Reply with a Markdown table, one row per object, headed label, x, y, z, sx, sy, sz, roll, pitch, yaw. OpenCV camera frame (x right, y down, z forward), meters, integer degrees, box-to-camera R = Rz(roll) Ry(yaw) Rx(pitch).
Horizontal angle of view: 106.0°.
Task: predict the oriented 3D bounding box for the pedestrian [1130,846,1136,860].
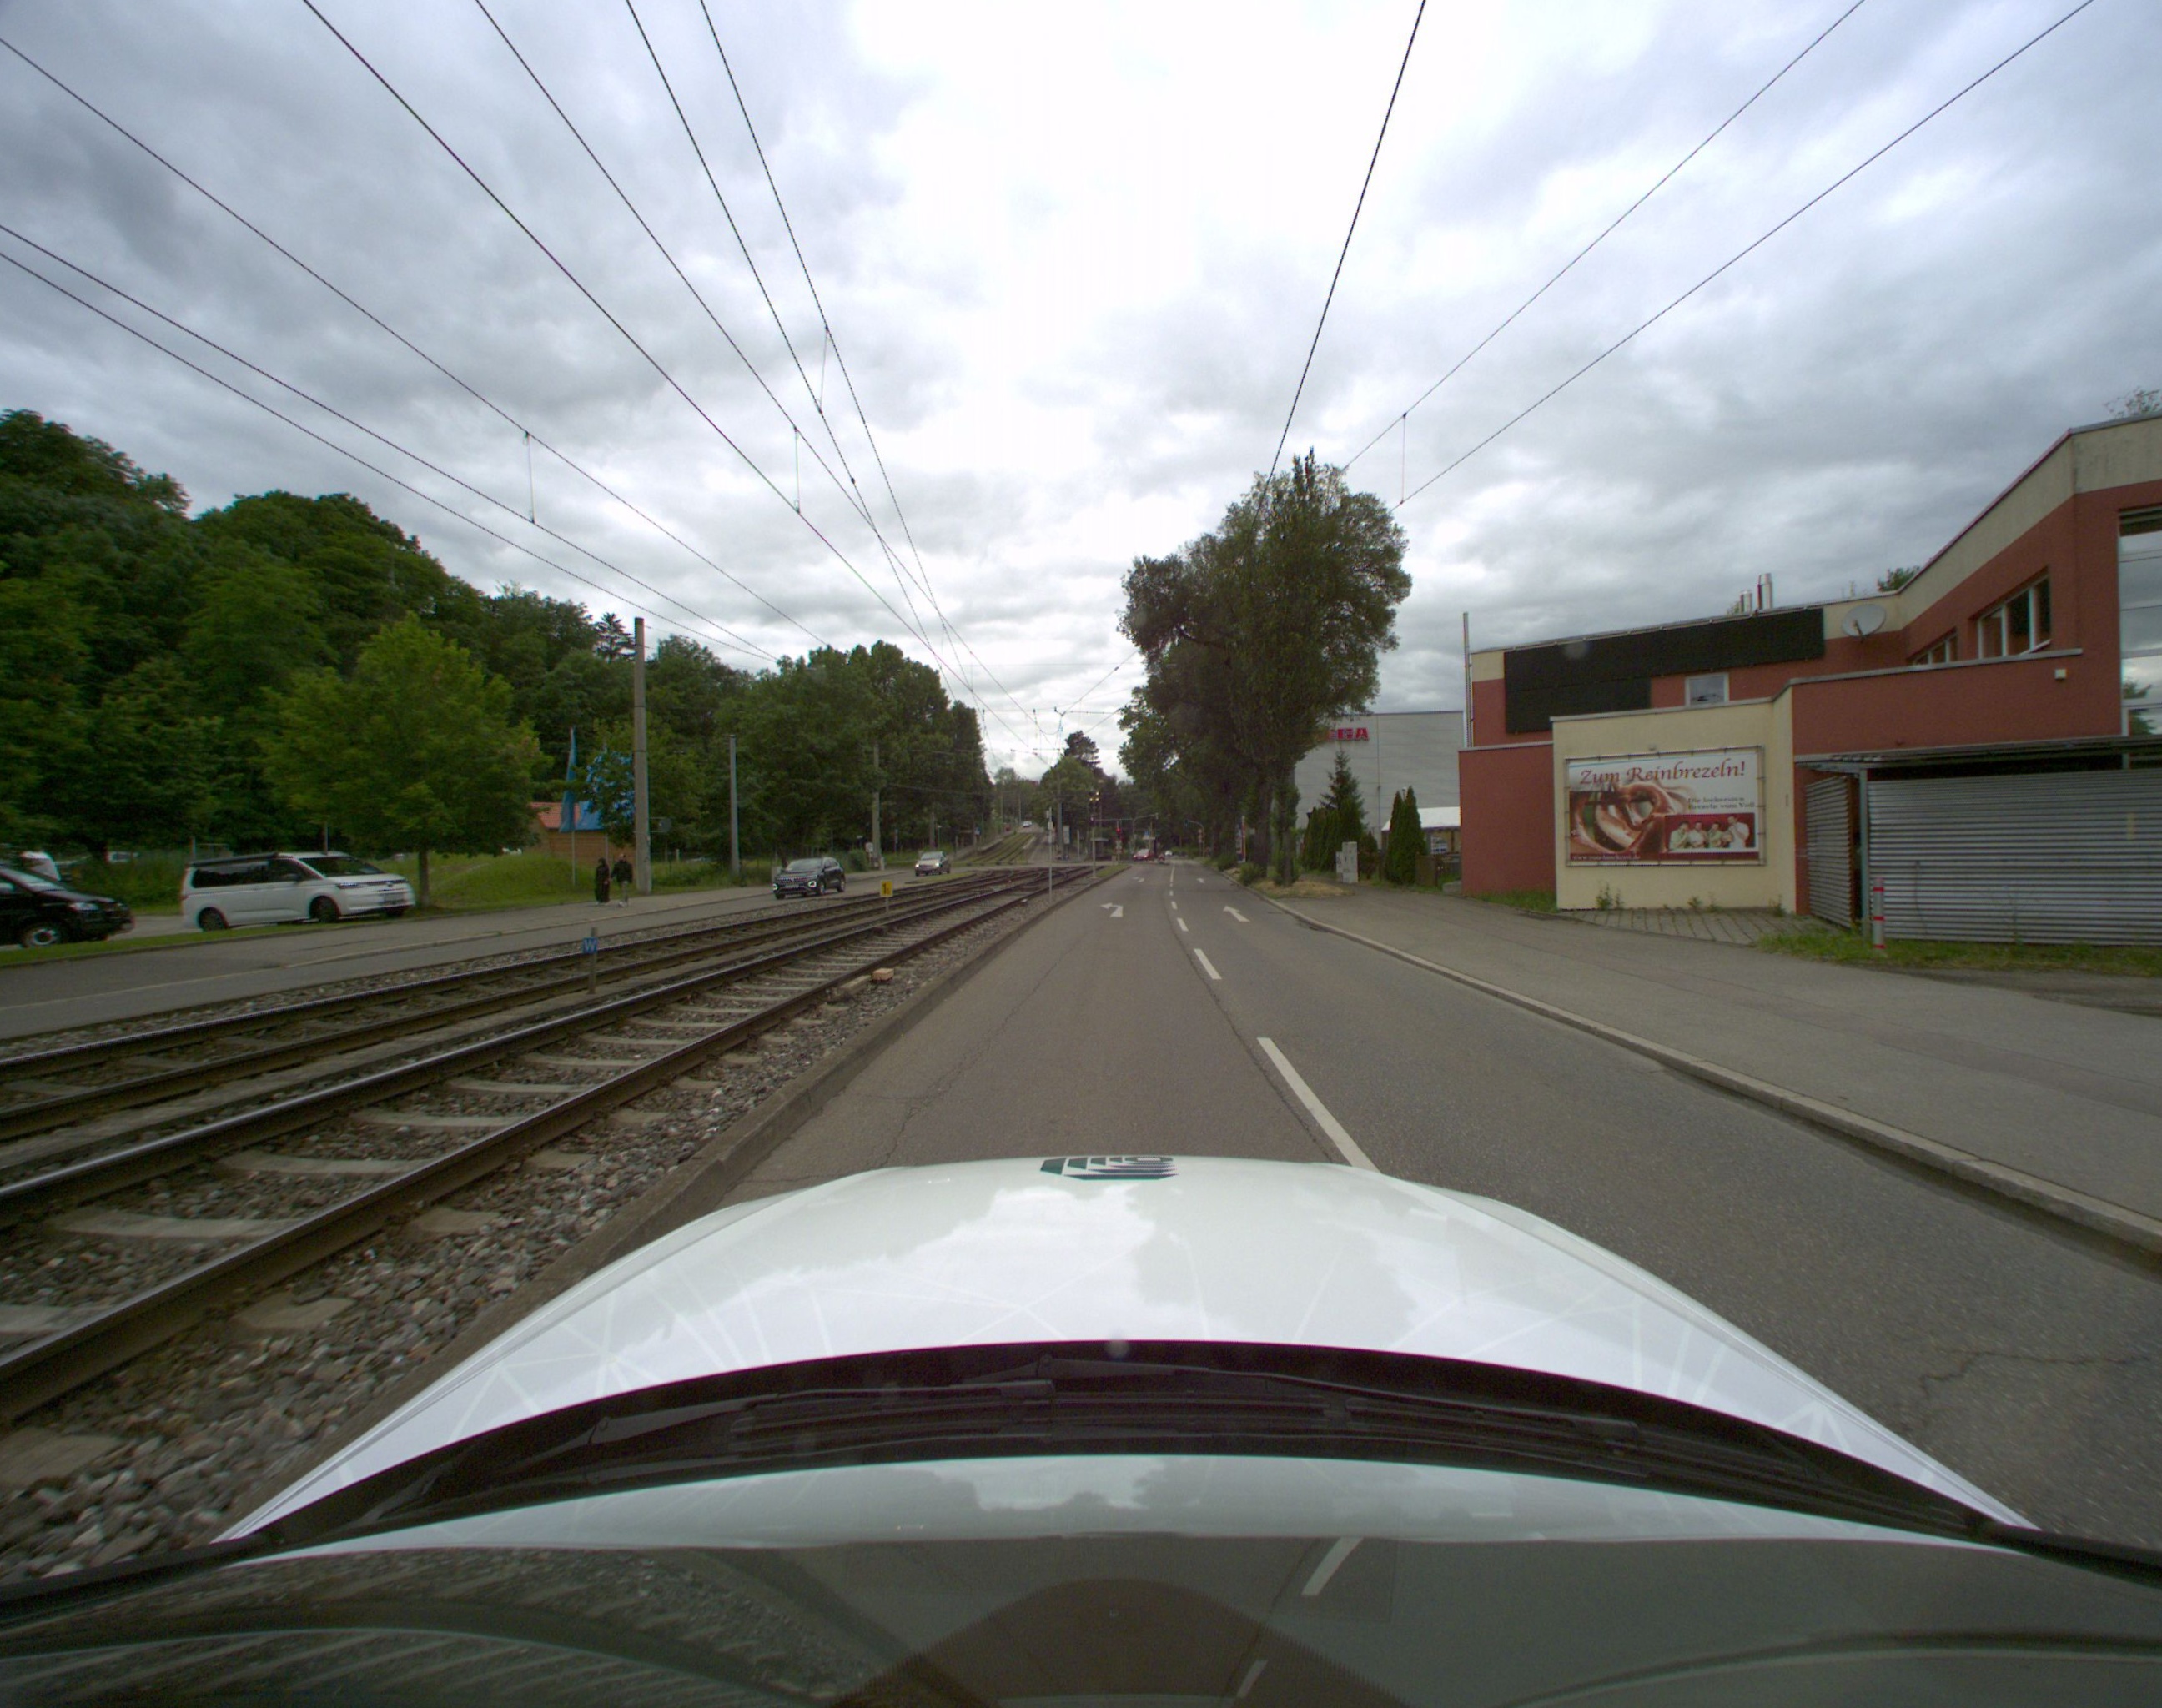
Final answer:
| label | x | y | z | sx | sy | sz | roll | pitch | yaw |
| --- | --- | --- | --- | --- | --- | --- | --- | --- | --- |
| pedestrian | 6.649 | -0.128 | 103.911 | 0.765 | 1.852 | 0.911 | -1 | 0 | 3 |

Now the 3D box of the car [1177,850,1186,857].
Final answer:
| label | x | y | z | sx | sy | sz | roll | pitch | yaw |
| --- | --- | --- | --- | --- | --- | --- | --- | --- | --- |
| car | 27.200 | -0.172 | 220.363 | 1.985 | 1.815 | 4.003 | -1 | 0 | 3 |

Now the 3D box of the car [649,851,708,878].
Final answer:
| label | x | y | z | sx | sy | sz | roll | pitch | yaw |
| --- | --- | --- | --- | --- | --- | --- | --- | --- | --- |
| car | -27.889 | 0.729 | 56.535 | 1.986 | 1.750 | 4.001 | -1 | 0 | 1 |

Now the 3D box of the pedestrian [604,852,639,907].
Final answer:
| label | x | y | z | sx | sy | sz | roll | pitch | yaw |
| --- | --- | --- | --- | --- | --- | --- | --- | --- | --- |
| pedestrian | -15.606 | 0.842 | 27.686 | 0.673 | 1.813 | 0.856 | 1 | 0 | 3 |

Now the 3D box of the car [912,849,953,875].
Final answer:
| label | x | y | z | sx | sy | sz | roll | pitch | yaw |
| --- | --- | --- | --- | --- | --- | --- | --- | --- | --- |
| car | -10.135 | 0.520 | 55.922 | 1.884 | 1.532 | 4.256 | -4 | 0 | 0 |

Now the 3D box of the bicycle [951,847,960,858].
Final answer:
| label | x | y | z | sx | sy | sz | roll | pitch | yaw |
| --- | --- | --- | --- | --- | --- | --- | --- | --- | --- |
| bicycle | -17.607 | -0.185 | 114.171 | 0.822 | 1.343 | 2.995 | -1 | 3 | -2 |

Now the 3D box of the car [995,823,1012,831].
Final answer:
| label | x | y | z | sx | sy | sz | roll | pitch | yaw |
| --- | --- | --- | --- | --- | --- | --- | --- | --- | --- |
| car | -21.002 | -7.342 | 220.724 | 3.961 | 2.013 | 2.006 | -1 | 0 | 10 |

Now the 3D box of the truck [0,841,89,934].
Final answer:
| label | x | y | z | sx | sy | sz | roll | pitch | yaw |
| --- | --- | --- | --- | --- | --- | --- | --- | --- | --- |
| truck | -32.451 | 0.980 | 24.223 | 5.010 | 2.588 | 2.483 | -1 | 0 | 25 |

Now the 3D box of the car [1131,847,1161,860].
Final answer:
| label | x | y | z | sx | sy | sz | roll | pitch | yaw |
| --- | --- | --- | --- | --- | --- | --- | --- | --- | --- |
| car | 7.937 | -0.070 | 98.822 | 1.975 | 1.515 | 4.528 | 0 | 0 | 28 |

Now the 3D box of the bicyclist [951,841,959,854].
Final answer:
| label | x | y | z | sx | sy | sz | roll | pitch | yaw |
| --- | --- | --- | --- | --- | --- | --- | --- | --- | --- |
| bicyclist | -17.631 | -0.908 | 113.916 | 0.819 | 1.848 | 1.051 | -1 | 2 | -2 |

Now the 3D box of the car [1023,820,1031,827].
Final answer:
| label | x | y | z | sx | sy | sz | roll | pitch | yaw |
| --- | --- | --- | --- | --- | --- | --- | --- | --- | --- |
| car | -17.038 | -9.613 | 256.045 | 1.986 | 2.013 | 4.003 | -1 | 0 | 2 |

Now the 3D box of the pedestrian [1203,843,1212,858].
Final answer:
| label | x | y | z | sx | sy | sz | roll | pitch | yaw |
| --- | --- | --- | --- | --- | --- | --- | --- | --- | --- |
| pedestrian | 16.568 | -0.428 | 106.643 | 0.922 | 2.013 | 0.672 | -1 | 0 | 31 |

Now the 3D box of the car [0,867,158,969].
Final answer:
| label | x | y | z | sx | sy | sz | roll | pitch | yaw |
| --- | --- | --- | --- | --- | --- | --- | --- | --- | --- |
| car | -23.565 | 1.377 | 17.137 | 5.096 | 2.013 | 2.142 | -2 | 1 | -37 |

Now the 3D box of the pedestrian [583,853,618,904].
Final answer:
| label | x | y | z | sx | sy | sz | roll | pitch | yaw |
| --- | --- | --- | --- | --- | --- | --- | --- | --- | --- |
| pedestrian | -16.368 | 0.821 | 27.746 | 0.625 | 1.713 | 0.856 | 1 | 0 | 3 |

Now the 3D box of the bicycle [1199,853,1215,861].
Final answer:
| label | x | y | z | sx | sy | sz | roll | pitch | yaw |
| --- | --- | --- | --- | --- | --- | --- | --- | --- | --- |
| bicycle | 16.492 | 0.350 | 106.692 | 2.054 | 1.007 | 0.672 | -1 | 0 | 33 |

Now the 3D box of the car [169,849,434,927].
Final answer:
| label | x | y | z | sx | sy | sz | roll | pitch | yaw |
| --- | --- | --- | --- | --- | --- | --- | --- | --- | --- |
| car | -20.344 | 0.846 | 21.406 | 5.032 | 1.888 | 2.169 | -1 | 0 | 4 |

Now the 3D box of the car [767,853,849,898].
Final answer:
| label | x | y | z | sx | sy | sz | roll | pitch | yaw |
| --- | --- | --- | --- | --- | --- | --- | --- | --- | --- |
| car | -10.688 | 0.783 | 32.241 | 1.681 | 1.532 | 4.256 | -4 | 0 | 0 |
